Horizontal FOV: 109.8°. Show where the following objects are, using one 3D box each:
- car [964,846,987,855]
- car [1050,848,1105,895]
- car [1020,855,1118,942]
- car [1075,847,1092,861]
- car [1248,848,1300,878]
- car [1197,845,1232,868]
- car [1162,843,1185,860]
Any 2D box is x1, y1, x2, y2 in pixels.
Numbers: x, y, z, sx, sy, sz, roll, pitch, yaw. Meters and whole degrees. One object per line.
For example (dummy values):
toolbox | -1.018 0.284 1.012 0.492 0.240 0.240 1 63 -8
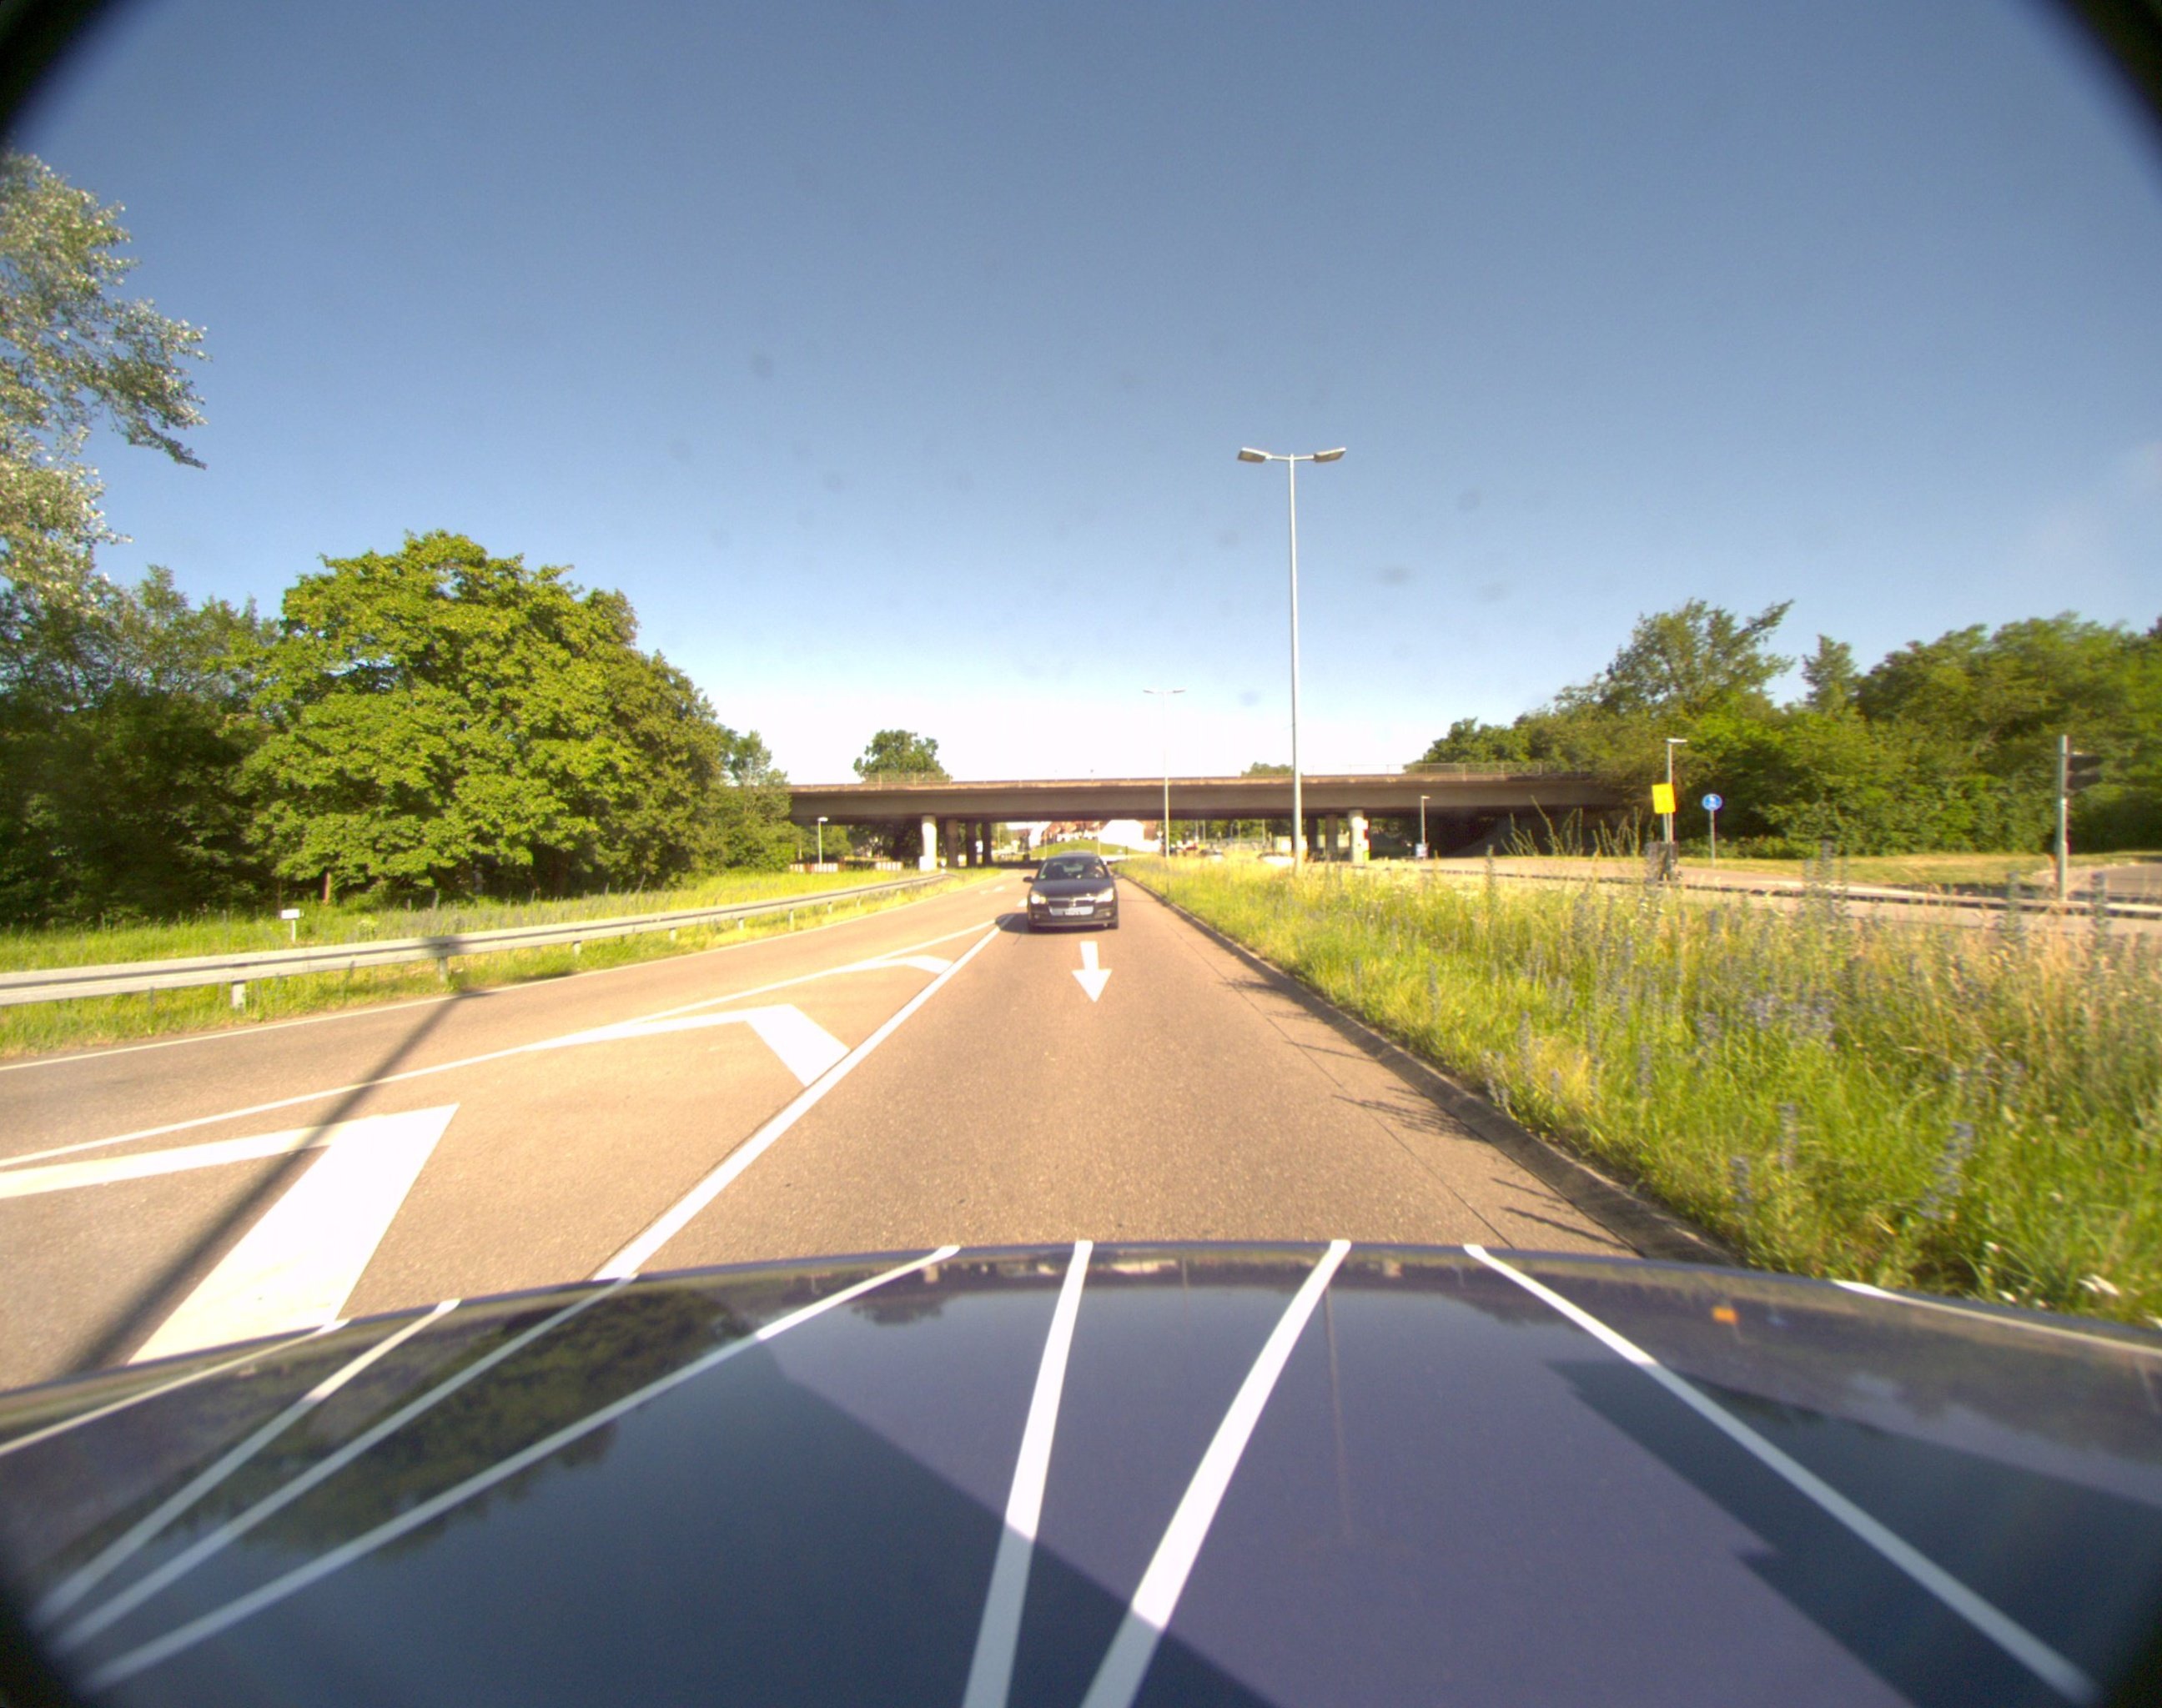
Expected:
car | -17.241 -0.563 123.597 1.832 1.528 4.031 -2 1 -39
car | -0.071 0.575 27.953 1.827 1.528 4.041 -2 1 1
car | -0.165 0.807 15.563 1.706 1.447 3.959 -2 1 1
car | 0.310 -0.027 82.729 1.827 1.528 4.042 -1 1 1
car | 9.857 0.424 39.084 1.636 1.436 4.103 -1 1 1
car | 9.566 0.142 54.586 1.637 1.521 3.591 -1 1 -4
car | 9.158 -0.258 75.338 1.637 1.521 3.591 -1 1 -3
